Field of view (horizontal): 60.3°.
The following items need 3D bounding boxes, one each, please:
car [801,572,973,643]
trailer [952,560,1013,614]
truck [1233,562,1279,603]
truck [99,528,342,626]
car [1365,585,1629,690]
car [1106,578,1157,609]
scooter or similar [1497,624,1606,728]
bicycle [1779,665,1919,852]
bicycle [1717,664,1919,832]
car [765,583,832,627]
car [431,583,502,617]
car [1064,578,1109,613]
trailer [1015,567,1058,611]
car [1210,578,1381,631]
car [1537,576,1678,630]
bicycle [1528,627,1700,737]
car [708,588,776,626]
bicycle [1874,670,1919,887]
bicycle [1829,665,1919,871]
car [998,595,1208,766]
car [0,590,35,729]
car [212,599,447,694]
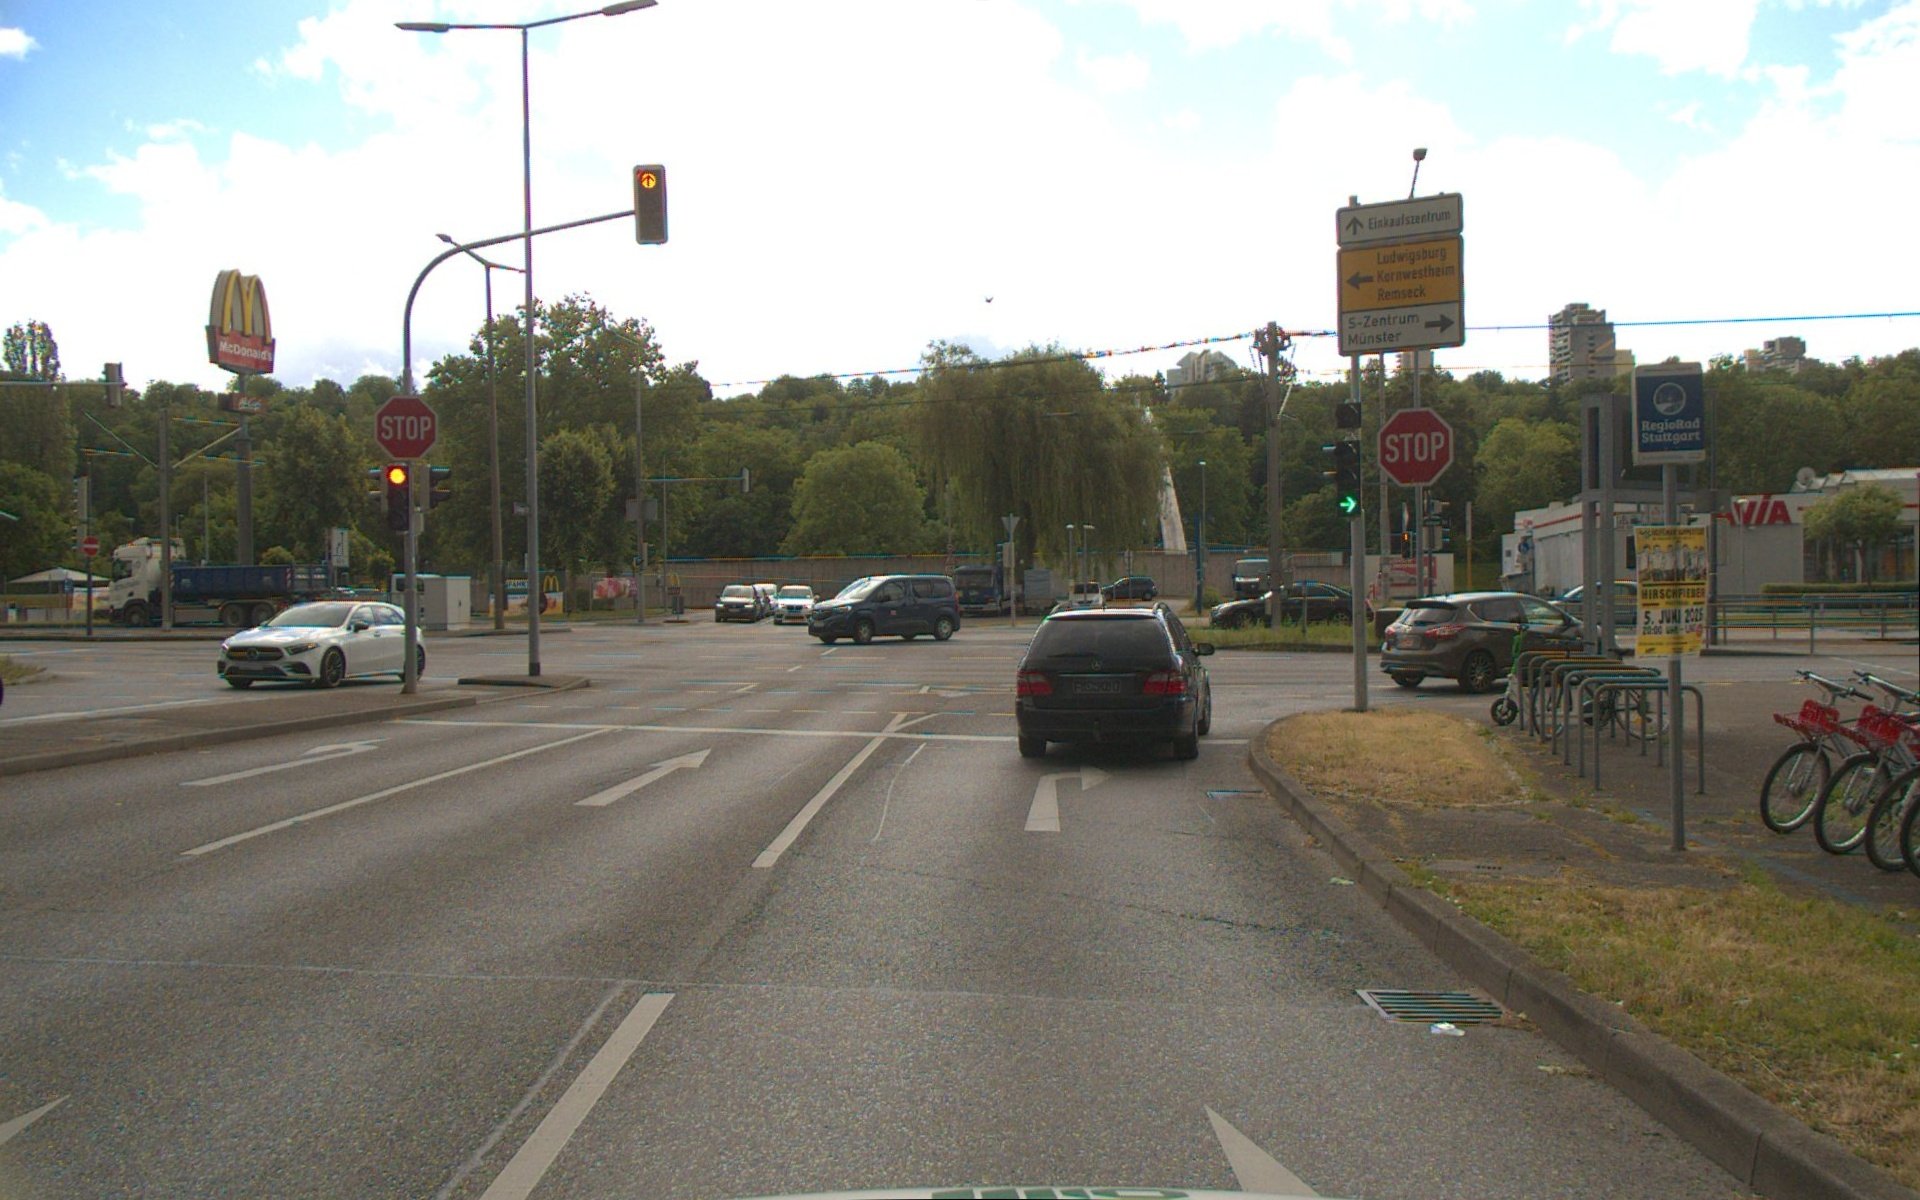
[{"bbox_3d":[-1.931,0.176,44.697,4.504,1.805,1.588,-1,1,-34],"label":"car"},{"bbox_3d":[1.186,-0.636,84.322,2.302,2.627,4.924,-2,0,10],"label":"trailer"},{"bbox_3d":[15.723,-0.908,88.143,2.187,2.049,5.244,-2,0,8],"label":"truck"},{"bbox_3d":[-30.375,-0.909,68.002,8.905,3.650,3.222,-2,0,13],"label":"truck"},{"bbox_3d":[8.737,0.559,26.862,4.086,1.556,1.717,-1,1,-27],"label":"car"},{"bbox_3d":[10.826,-0.413,104.387,3.083,1.850,1.404,-2,0,6],"label":"car"},{"bbox_3d":[6.907,0.889,19.332,1.156,1.190,0.294,-1,0,10],"label":"scooter or similar"},{"bbox_3d":[6.131,0.974,10.320,1.741,1.130,0.541,0,-2,2],"label":"bicycle"},{"bbox_3d":[6.329,1.030,11.645,1.741,1.130,0.553,0,0,2],"label":"bicycle"},{"bbox_3d":[-7.134,0.198,73.441,1.951,1.892,4.004,-1,1,10],"label":"car"},{"bbox_3d":[-31.889,-0.014,106.900,3.902,2.049,2.001,-2,0,7],"label":"car"},{"bbox_3d":[6.531,-0.249,85.064,1.951,1.780,4.004,-1,1,10],"label":"car"},{"bbox_3d":[4.030,-0.559,86.378,1.951,2.222,4.003,-2,0,6],"label":"trailer"},{"bbox_3d":[10.274,0.121,50.880,4.945,1.550,1.744,-1,1,3],"label":"car"},{"bbox_3d":[19.335,0.081,49.523,3.689,1.534,1.706,-1,1,12],"label":"car"},{"bbox_3d":[7.002,0.877,17.758,1.654,1.130,0.479,-1,2,2],"label":"bicycle"},{"bbox_3d":[-9.949,0.298,75.740,1.951,1.668,4.004,-1,1,10],"label":"car"},{"bbox_3d":[5.940,0.949,8.885,1.740,1.130,0.455,-1,-1,7],"label":"bicycle"},{"bbox_3d":[6.044,0.946,9.535,1.741,1.130,0.580,0,0,2],"label":"bicycle"},{"bbox_3d":[1.646,0.735,17.529,1.783,1.535,4.578,-1,0,10],"label":"car"},{"bbox_3d":[-10.748,0.642,15.791,1.583,1.440,3.896,-1,1,1],"label":"car"},{"bbox_3d":[-10.607,0.731,28.182,1.566,1.430,4.296,0,1,13],"label":"car"}]
